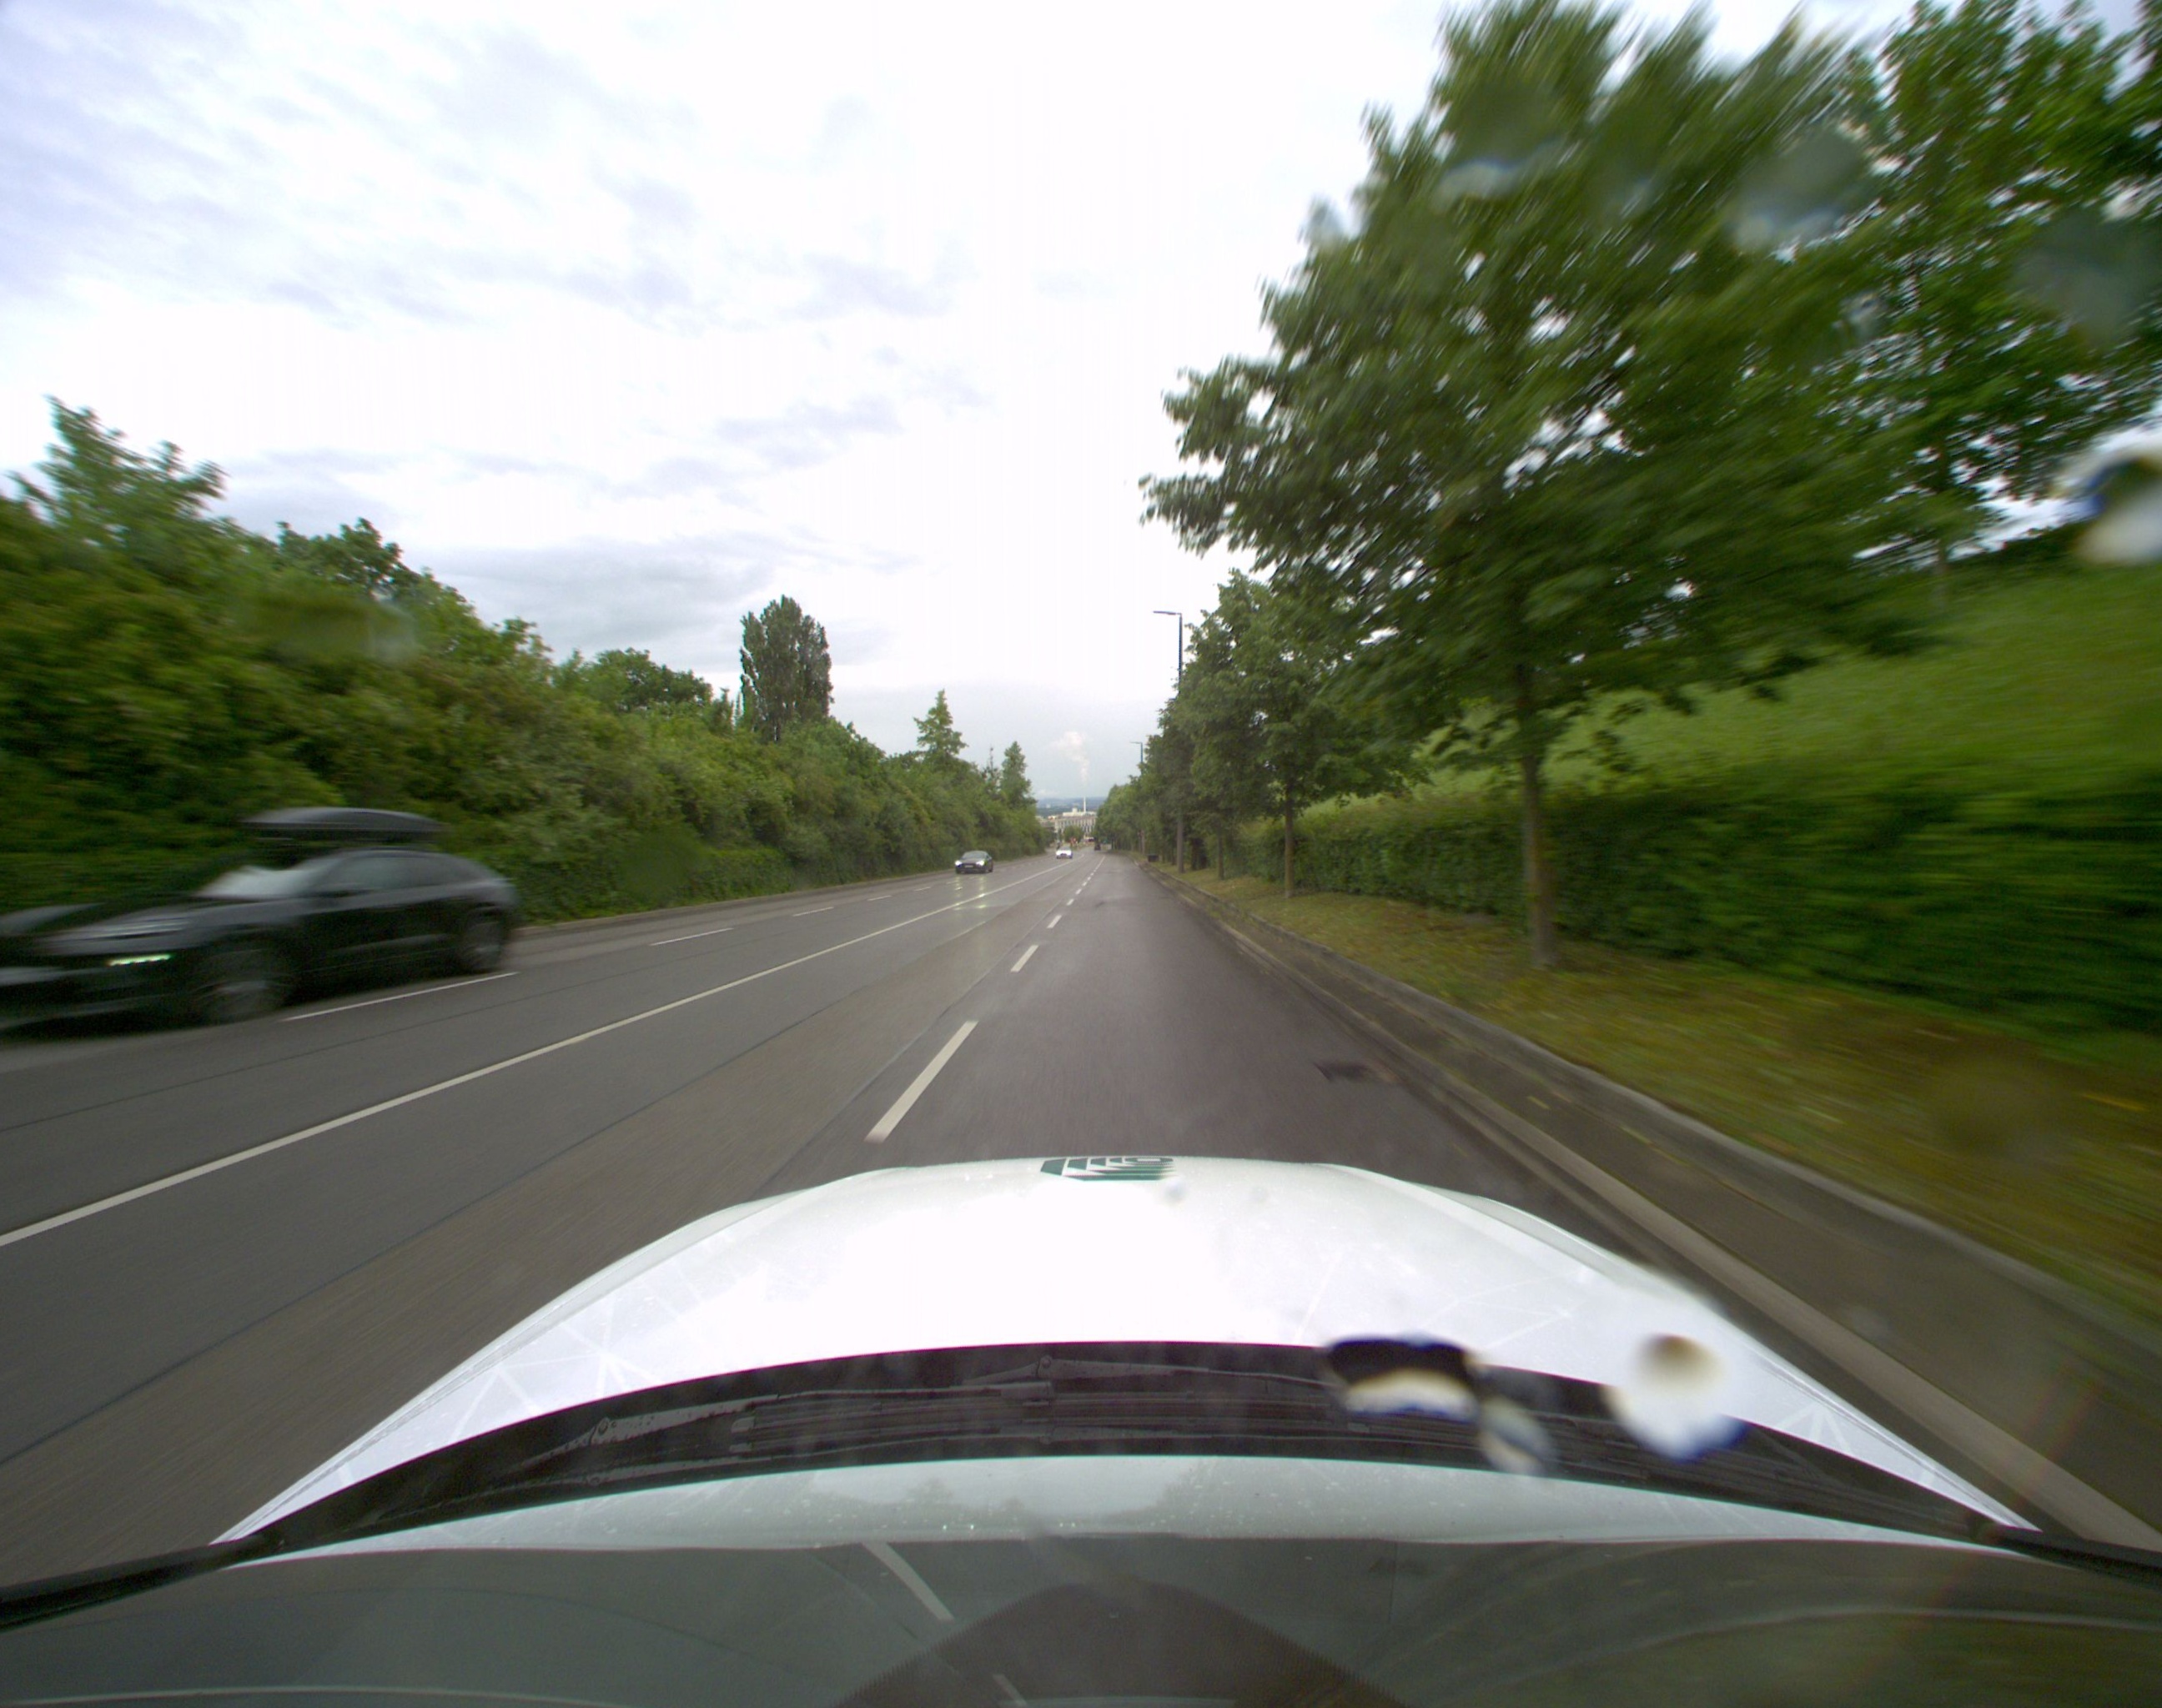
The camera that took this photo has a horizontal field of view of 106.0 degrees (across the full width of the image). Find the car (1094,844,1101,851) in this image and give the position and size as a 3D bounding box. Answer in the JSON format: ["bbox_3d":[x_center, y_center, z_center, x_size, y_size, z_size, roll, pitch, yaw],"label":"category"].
[{"bbox_3d":[4.413,-1.769,214.181,1.843,1.702,3.792,0,-1,0],"label":"car"}]

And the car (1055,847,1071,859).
[{"bbox_3d":[-2.309,-0.105,103.125,1.708,1.505,4.519,0,1,2],"label":"car"}]

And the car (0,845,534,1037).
[{"bbox_3d":[-8.579,0.694,8.913,1.891,1.553,4.633,0,0,3],"label":"car"}]

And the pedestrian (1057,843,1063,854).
[{"bbox_3d":[-3.098,-0.834,121.585,0.802,1.541,1.112,-1,0,2],"label":"pedestrian"}]

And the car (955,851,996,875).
[{"bbox_3d":[-6.665,0.560,51.942,1.753,1.381,4.841,0,1,2],"label":"car"}]

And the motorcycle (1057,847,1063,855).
[{"bbox_3d":[-3.093,-0.481,121.553,0.802,1.131,2.233,-1,0,2],"label":"motorcycle"}]
